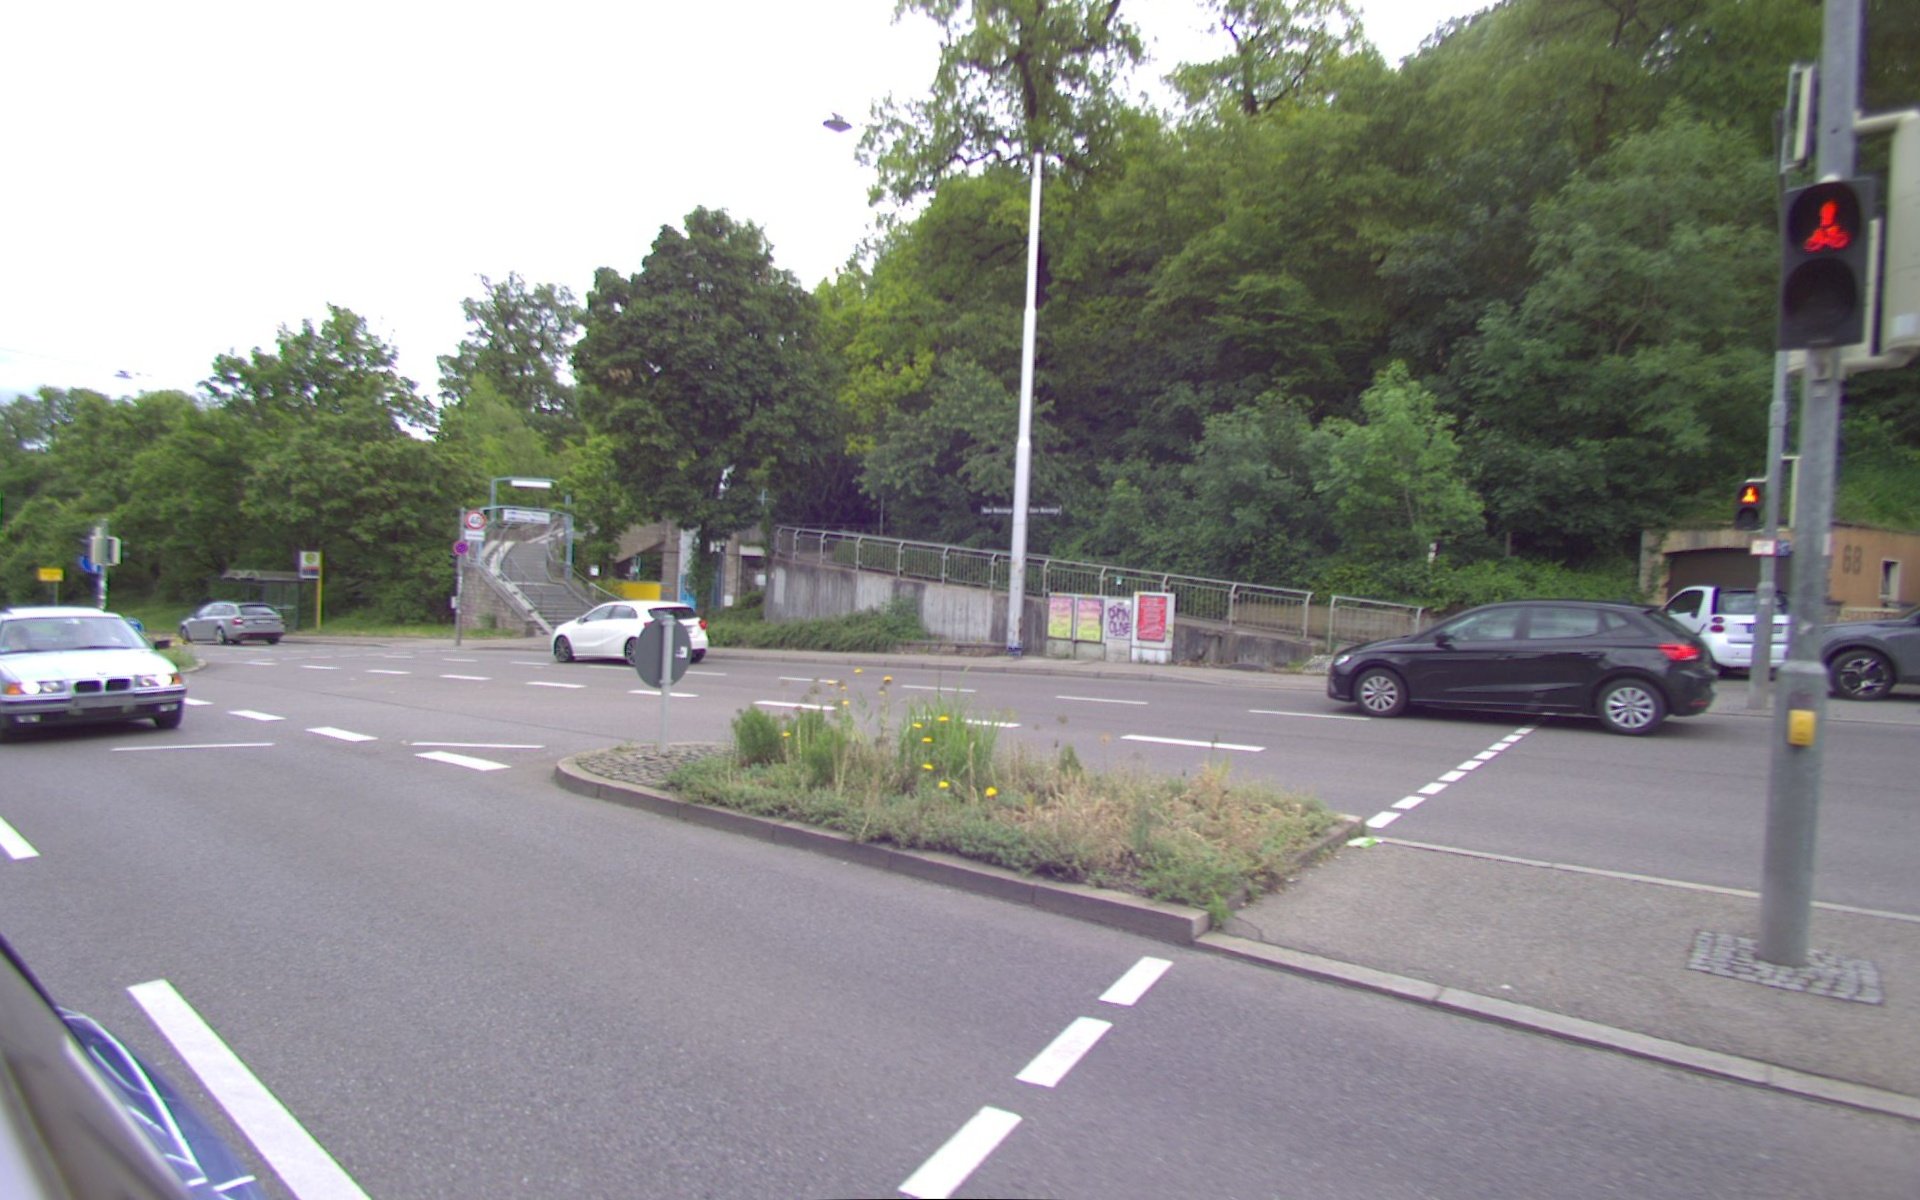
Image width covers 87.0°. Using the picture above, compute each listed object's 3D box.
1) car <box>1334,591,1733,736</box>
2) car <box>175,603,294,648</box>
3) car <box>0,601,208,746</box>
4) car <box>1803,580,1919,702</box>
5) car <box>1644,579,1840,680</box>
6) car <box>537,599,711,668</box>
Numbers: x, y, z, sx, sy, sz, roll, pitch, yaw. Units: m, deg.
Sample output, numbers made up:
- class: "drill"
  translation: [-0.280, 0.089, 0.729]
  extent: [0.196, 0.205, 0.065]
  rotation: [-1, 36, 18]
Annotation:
- class: "car"
  translation: [6.603, 0.632, 11.860]
  extent: [3.853, 1.404, 1.610]
  rotation: [0, 1, 39]
- class: "car"
  translation: [-24.882, 0.847, 34.654]
  extent: [4.550, 1.459, 1.639]
  rotation: [-1, 0, 31]
- class: "car"
  translation: [-10.667, 0.734, 12.007]
  extent: [4.610, 1.404, 1.735]
  rotation: [0, 0, 39]
- class: "car"
  translation: [13.404, 0.516, 12.722]
  extent: [1.574, 1.551, 4.138]
  rotation: [1, -1, -42]
- class: "car"
  translation: [13.297, 0.440, 17.395]
  extent: [1.547, 1.531, 2.703]
  rotation: [0, 2, 10]
- class: "car"
  translation: [-7.745, 0.727, 23.168]
  extent: [4.135, 1.404, 1.637]
  rotation: [-1, 1, 35]
